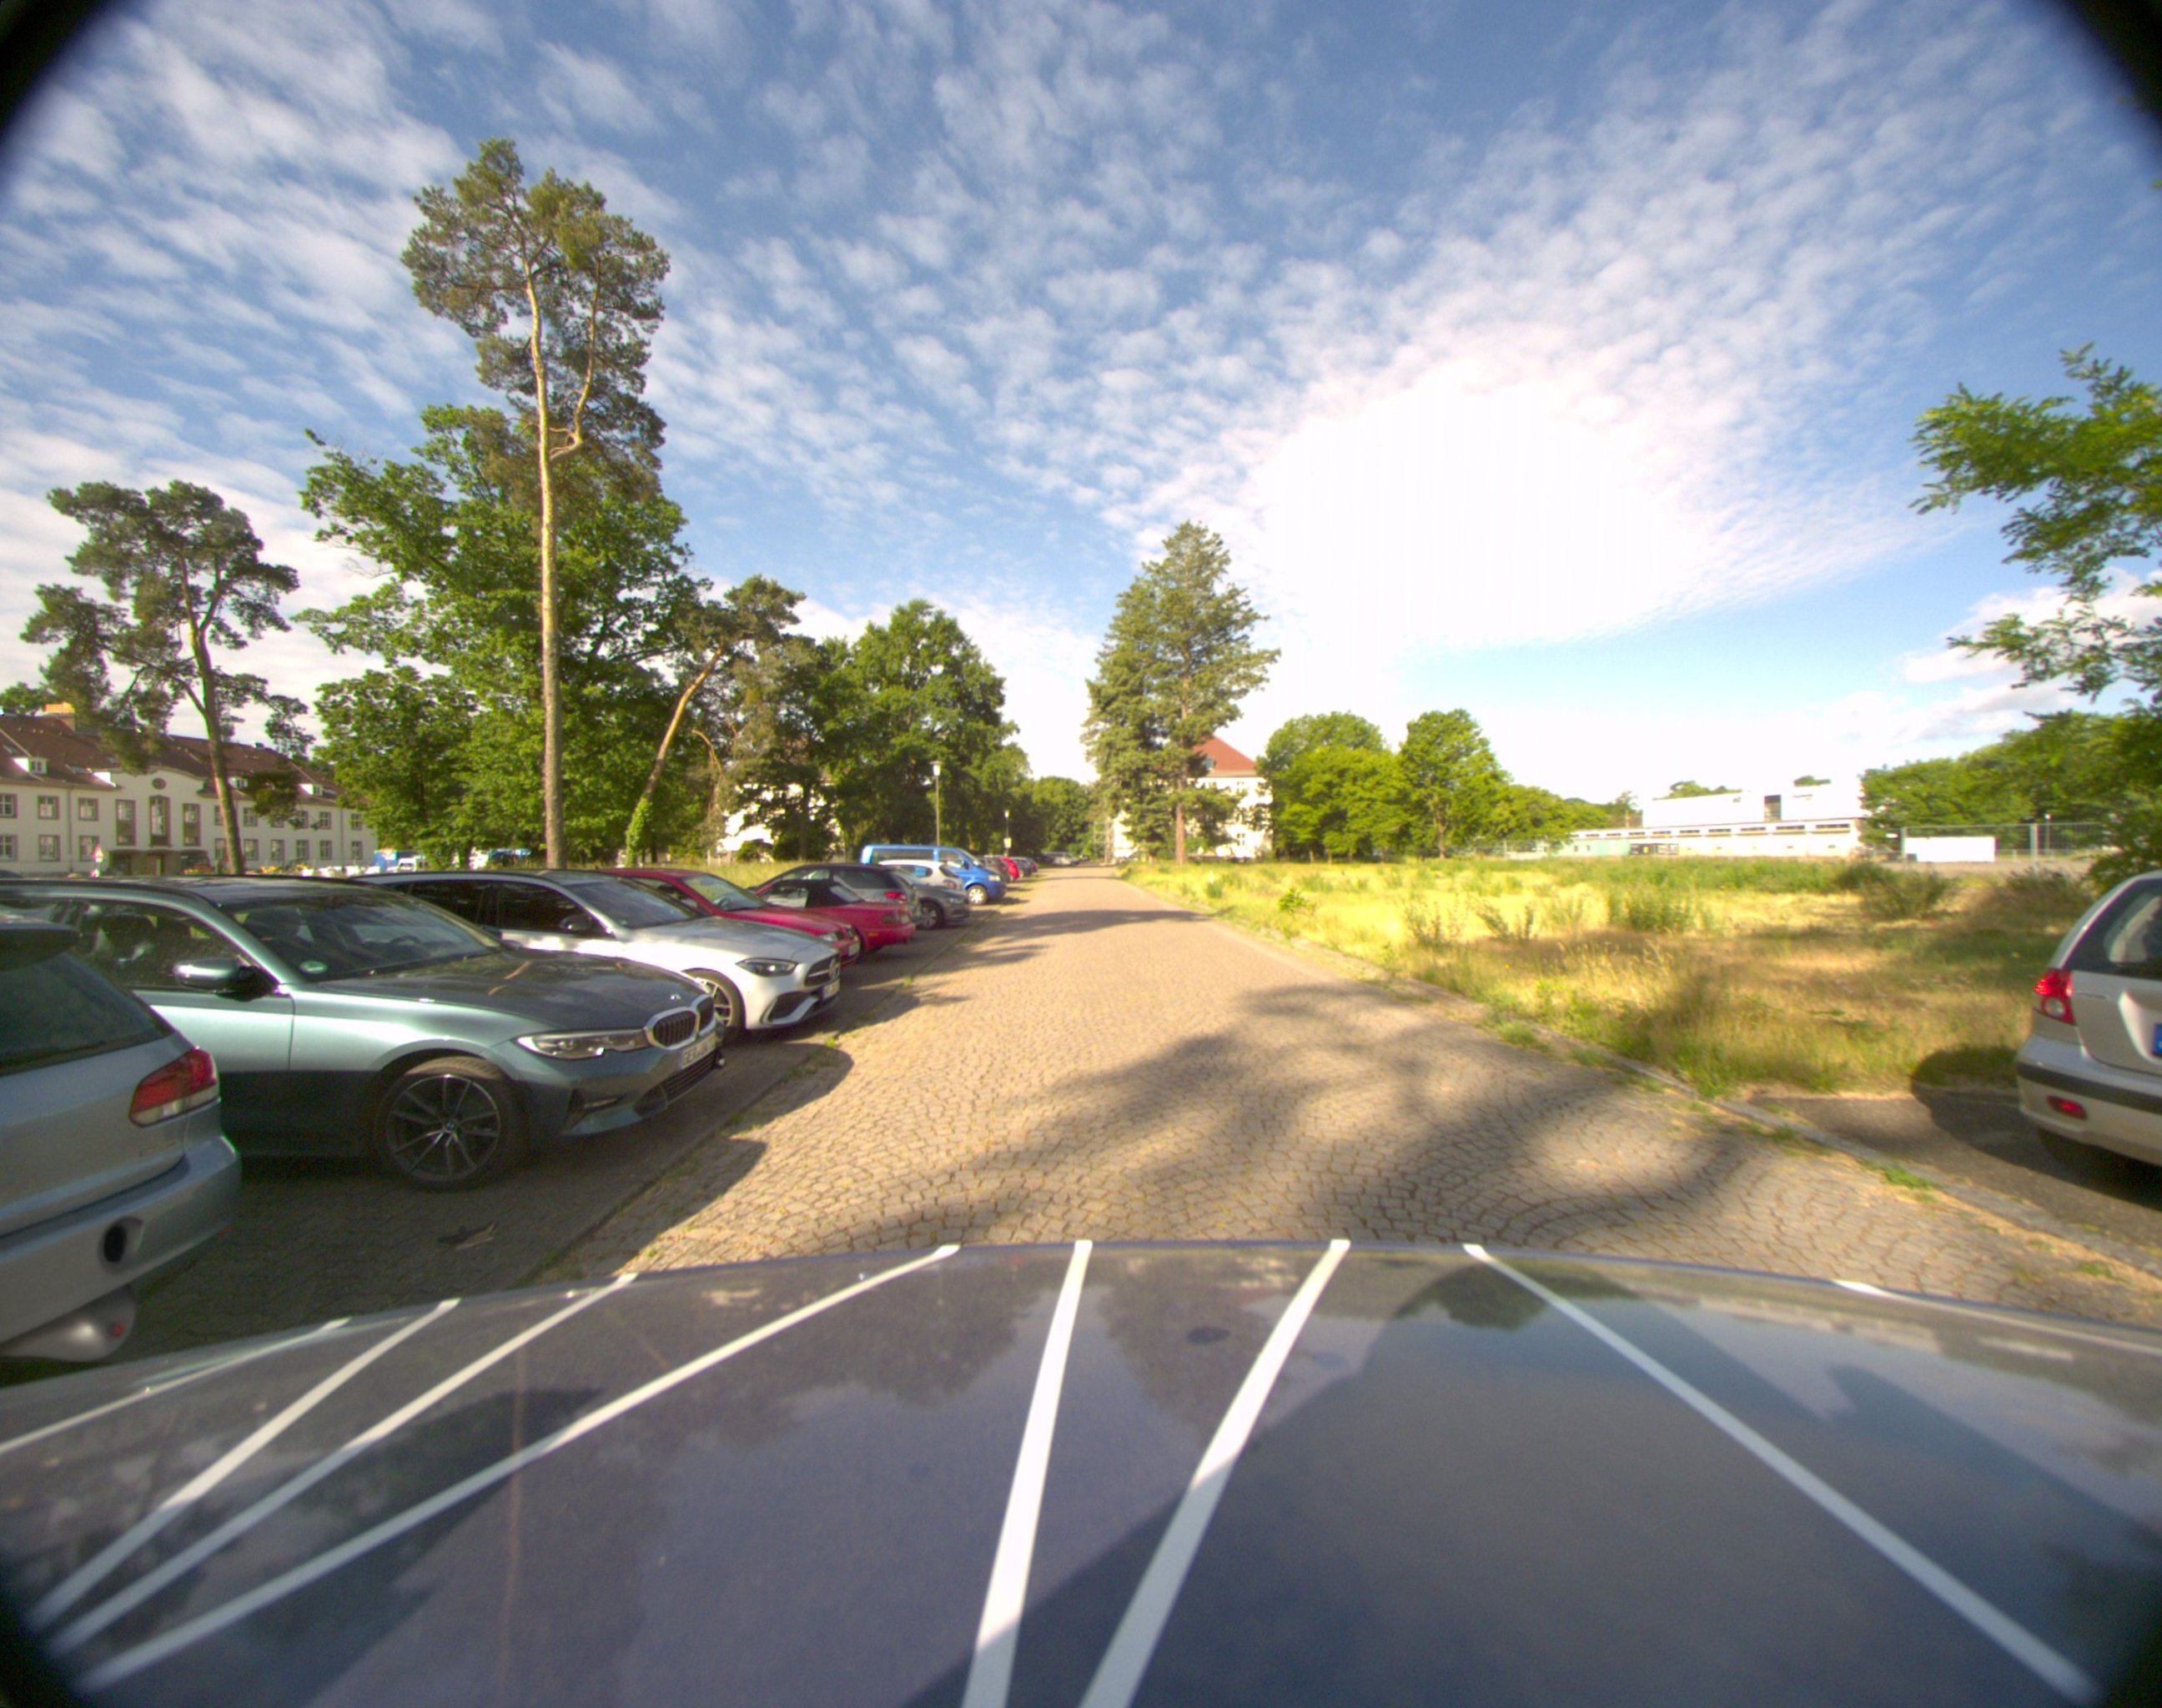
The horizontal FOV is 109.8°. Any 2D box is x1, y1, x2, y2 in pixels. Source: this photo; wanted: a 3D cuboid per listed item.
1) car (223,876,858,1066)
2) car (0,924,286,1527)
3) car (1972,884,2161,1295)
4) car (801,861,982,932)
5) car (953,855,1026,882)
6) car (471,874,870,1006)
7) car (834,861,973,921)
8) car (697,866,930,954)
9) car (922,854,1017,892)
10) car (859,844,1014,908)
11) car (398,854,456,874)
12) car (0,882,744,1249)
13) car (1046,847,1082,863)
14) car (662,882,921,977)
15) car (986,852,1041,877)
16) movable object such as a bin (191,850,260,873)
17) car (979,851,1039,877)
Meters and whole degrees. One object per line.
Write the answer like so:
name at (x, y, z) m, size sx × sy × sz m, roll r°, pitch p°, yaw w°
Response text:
car at (-4.504, 0.961, 6.907) m, size 4.423 × 1.394 × 1.825 m, roll 1°, pitch 1°, yaw -2°
car at (-4.727, 0.969, 1.617) m, size 4.026 × 1.452 × 1.870 m, roll 0°, pitch 1°, yaw -1°
car at (5.754, 0.818, 2.655) m, size 3.474 × 1.462 × 1.636 m, roll -4°, pitch 1°, yaw -3°
car at (-4.210, 0.925, 17.127) m, size 3.621 × 1.482 × 1.508 m, roll -1°, pitch 1°, yaw 9°
car at (-5.332, 0.860, 44.648) m, size 3.996 × 1.509 × 1.757 m, roll -1°, pitch 1°, yaw 2°
car at (-4.749, 0.974, 9.213) m, size 3.918 × 1.385 × 1.660 m, roll 1°, pitch 1°, yaw -1°
car at (-4.600, 0.950, 19.975) m, size 3.264 × 1.482 × 1.449 m, roll -1°, pitch 1°, yaw 2°
car at (-4.862, 1.001, 14.182) m, size 3.779 × 1.482 × 1.549 m, roll -1°, pitch 1°, yaw -1°
car at (-4.982, 0.841, 34.292) m, size 3.996 × 1.630 × 1.757 m, roll -1°, pitch 1°, yaw 2°
car at (-4.717, 0.695, 25.357) m, size 4.726 × 2.002 × 2.000 m, roll -1°, pitch 1°, yaw 1°
car at (-69.430, 1.033, 80.761) m, size 1.998 × 2.002 × 4.772 m, roll -1°, pitch 0°, yaw 0°
car at (-4.526, 0.956, 4.207) m, size 4.507 × 1.508 × 1.825 m, roll 0°, pitch 1°, yaw -4°
car at (-2.441, 0.112, 108.317) m, size 5.068 × 2.251 × 2.000 m, roll -1°, pitch 1°, yaw -1°
car at (-4.248, 1.098, 11.499) m, size 3.357 × 1.248 × 1.419 m, roll -1°, pitch 1°, yaw -1°
car at (-5.250, 0.812, 59.638) m, size 3.996 × 1.605 × 1.756 m, roll -3°, pitch 2°, yaw 4°
movable object such as a bin at (-91.524, 0.760, 81.391) m, size 1.999 × 2.309 × 4.984 m, roll -1°, pitch 0°, yaw -4°
car at (-5.175, 0.698, 54.836) m, size 3.996 × 1.731 × 1.757 m, roll -2°, pitch 1°, yaw 2°
